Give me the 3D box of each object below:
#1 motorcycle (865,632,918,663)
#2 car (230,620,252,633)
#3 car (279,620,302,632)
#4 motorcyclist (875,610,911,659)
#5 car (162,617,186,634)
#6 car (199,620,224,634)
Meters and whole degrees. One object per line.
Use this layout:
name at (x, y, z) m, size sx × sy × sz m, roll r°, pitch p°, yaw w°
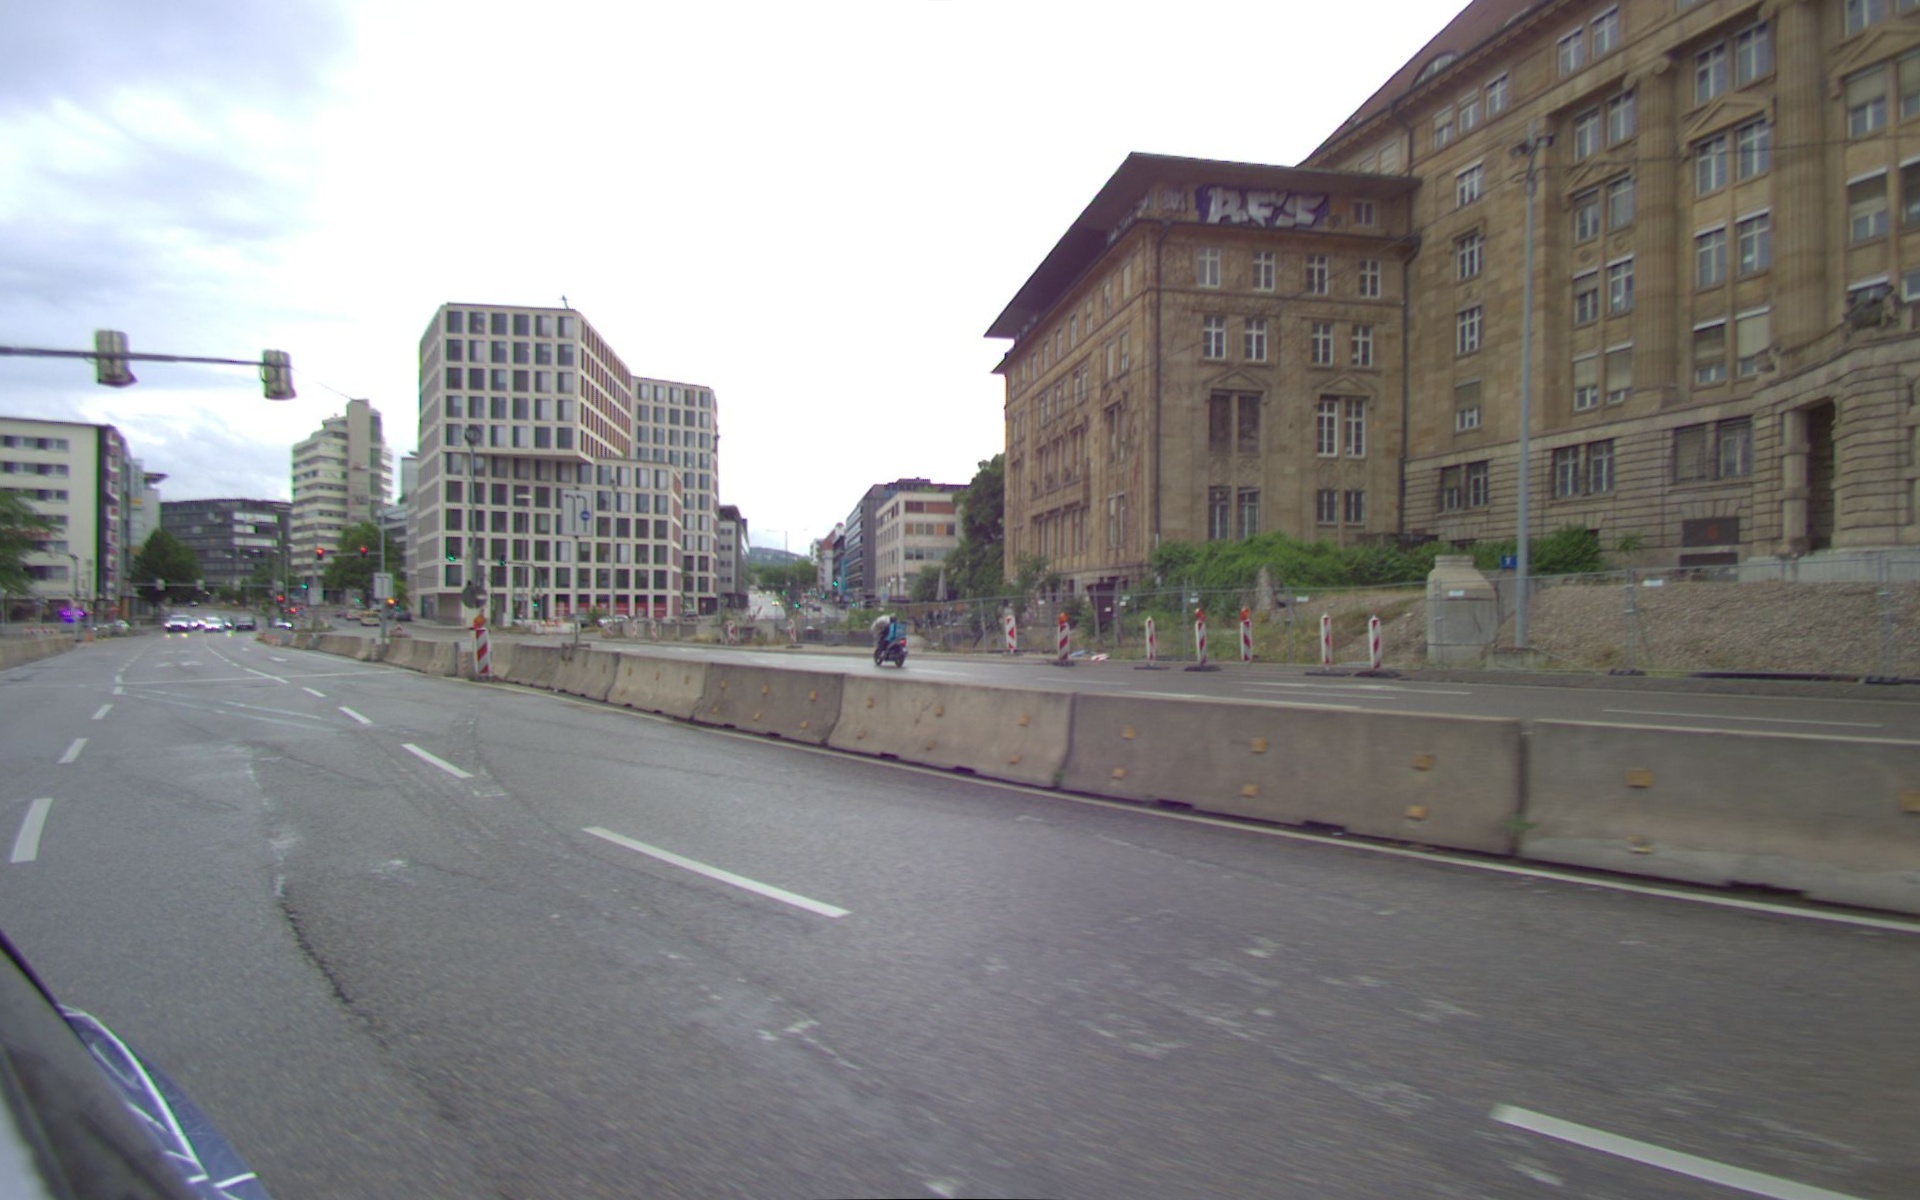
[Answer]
motorcycle at (-2.143, 1.458, 31.391) m, size 0.694 × 0.899 × 1.825 m, roll 0°, pitch -1°, yaw -41°
car at (-82.551, 3.051, 116.202) m, size 1.683 × 1.464 × 3.801 m, roll 0°, pitch -1°, yaw -41°
car at (-79.167, 3.059, 119.650) m, size 1.765 × 1.464 × 3.677 m, roll 0°, pitch -1°, yaw -41°
motorcyclist at (-2.078, 1.060, 31.321) m, size 0.694 × 1.498 × 0.964 m, roll 0°, pitch -1°, yaw -41°
car at (-88.279, 2.885, 113.638) m, size 1.969 × 1.838 × 4.006 m, roll 0°, pitch -1°, yaw -41°
car at (-84.941, 3.054, 114.862) m, size 1.969 × 1.464 × 4.006 m, roll 0°, pitch -1°, yaw -41°
